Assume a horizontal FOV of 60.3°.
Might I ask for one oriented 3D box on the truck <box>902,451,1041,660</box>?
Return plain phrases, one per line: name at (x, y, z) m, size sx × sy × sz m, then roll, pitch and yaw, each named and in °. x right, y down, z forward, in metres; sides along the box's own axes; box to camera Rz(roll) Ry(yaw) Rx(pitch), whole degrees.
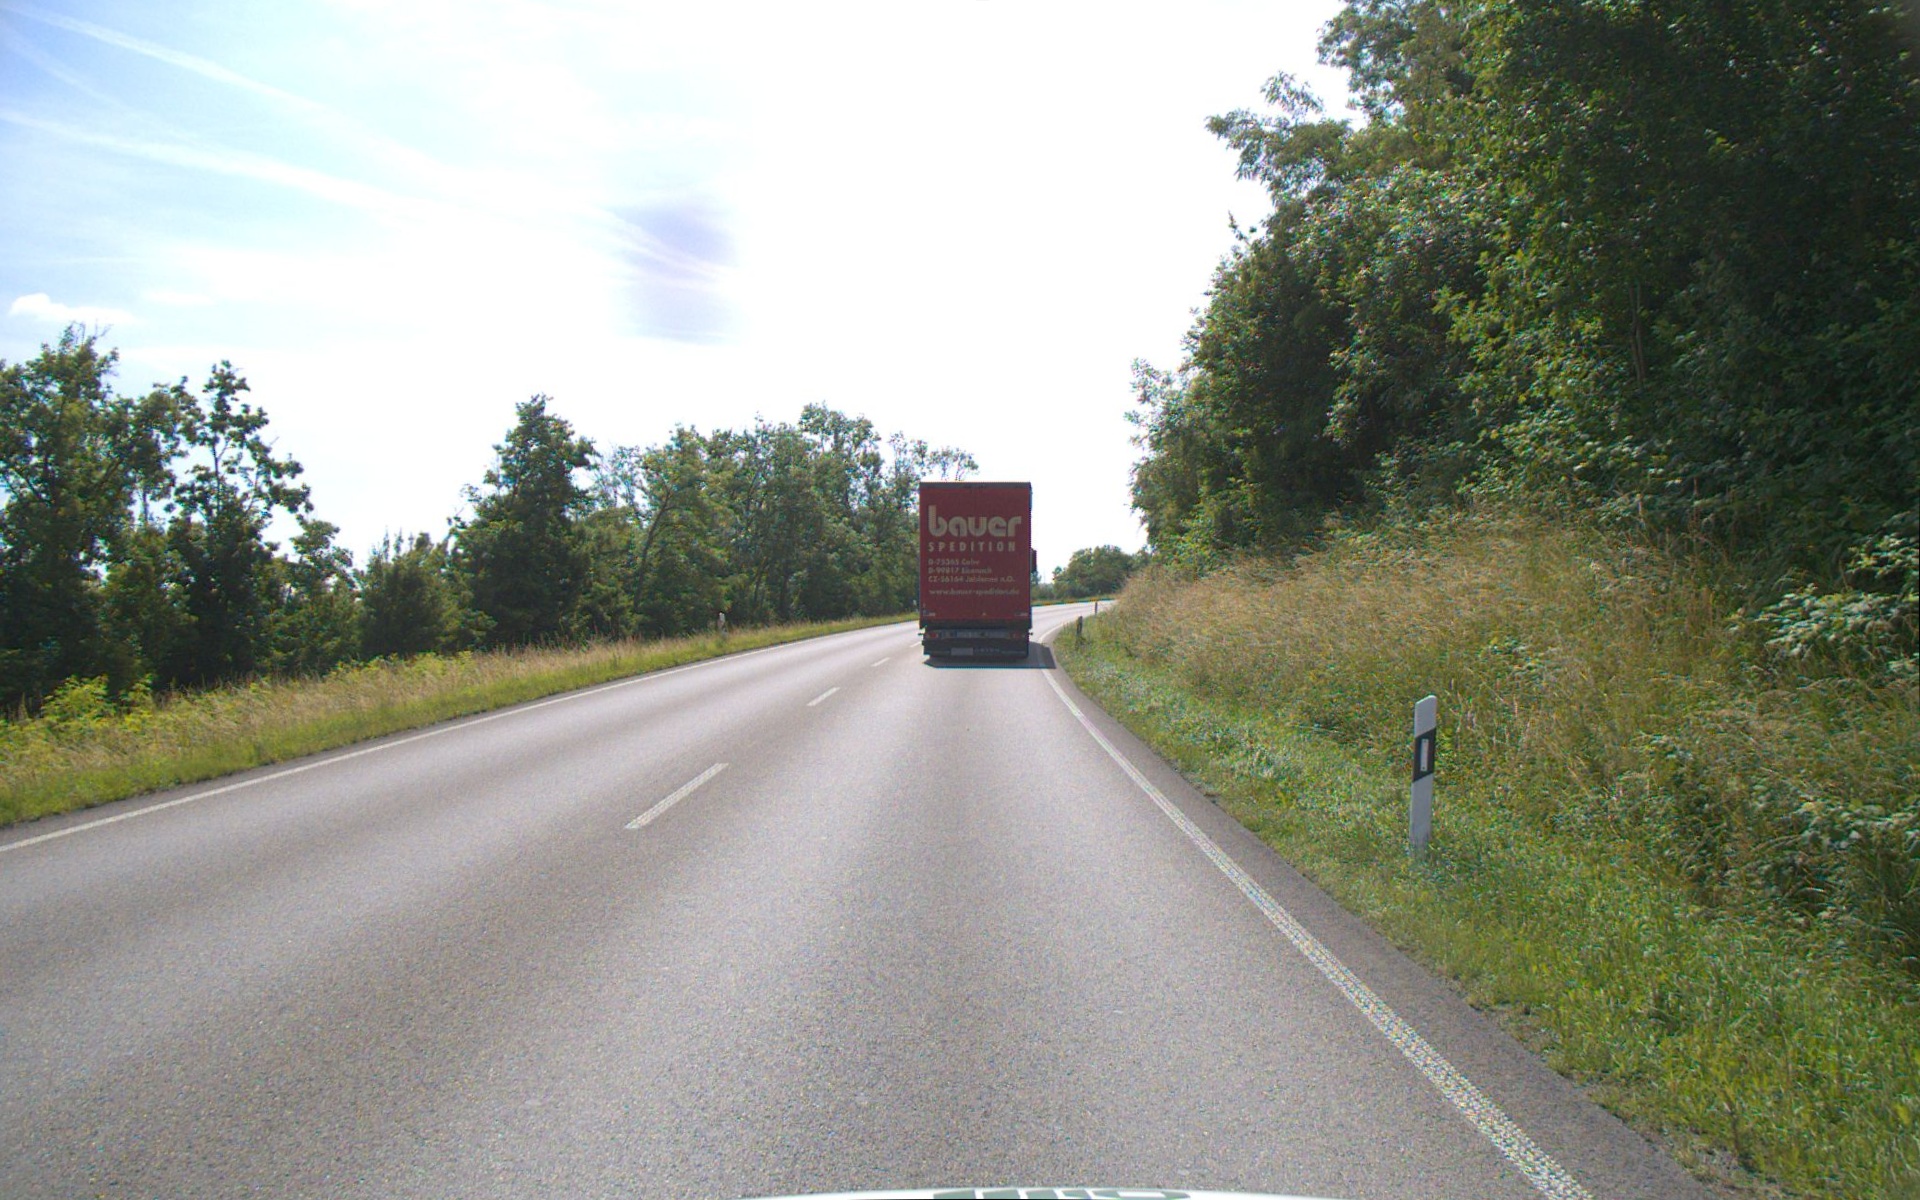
truck at (0.350, -0.996, 42.407) m, size 3.048 × 4.584 × 12.169 m, roll 0°, pitch 0°, yaw 1°
